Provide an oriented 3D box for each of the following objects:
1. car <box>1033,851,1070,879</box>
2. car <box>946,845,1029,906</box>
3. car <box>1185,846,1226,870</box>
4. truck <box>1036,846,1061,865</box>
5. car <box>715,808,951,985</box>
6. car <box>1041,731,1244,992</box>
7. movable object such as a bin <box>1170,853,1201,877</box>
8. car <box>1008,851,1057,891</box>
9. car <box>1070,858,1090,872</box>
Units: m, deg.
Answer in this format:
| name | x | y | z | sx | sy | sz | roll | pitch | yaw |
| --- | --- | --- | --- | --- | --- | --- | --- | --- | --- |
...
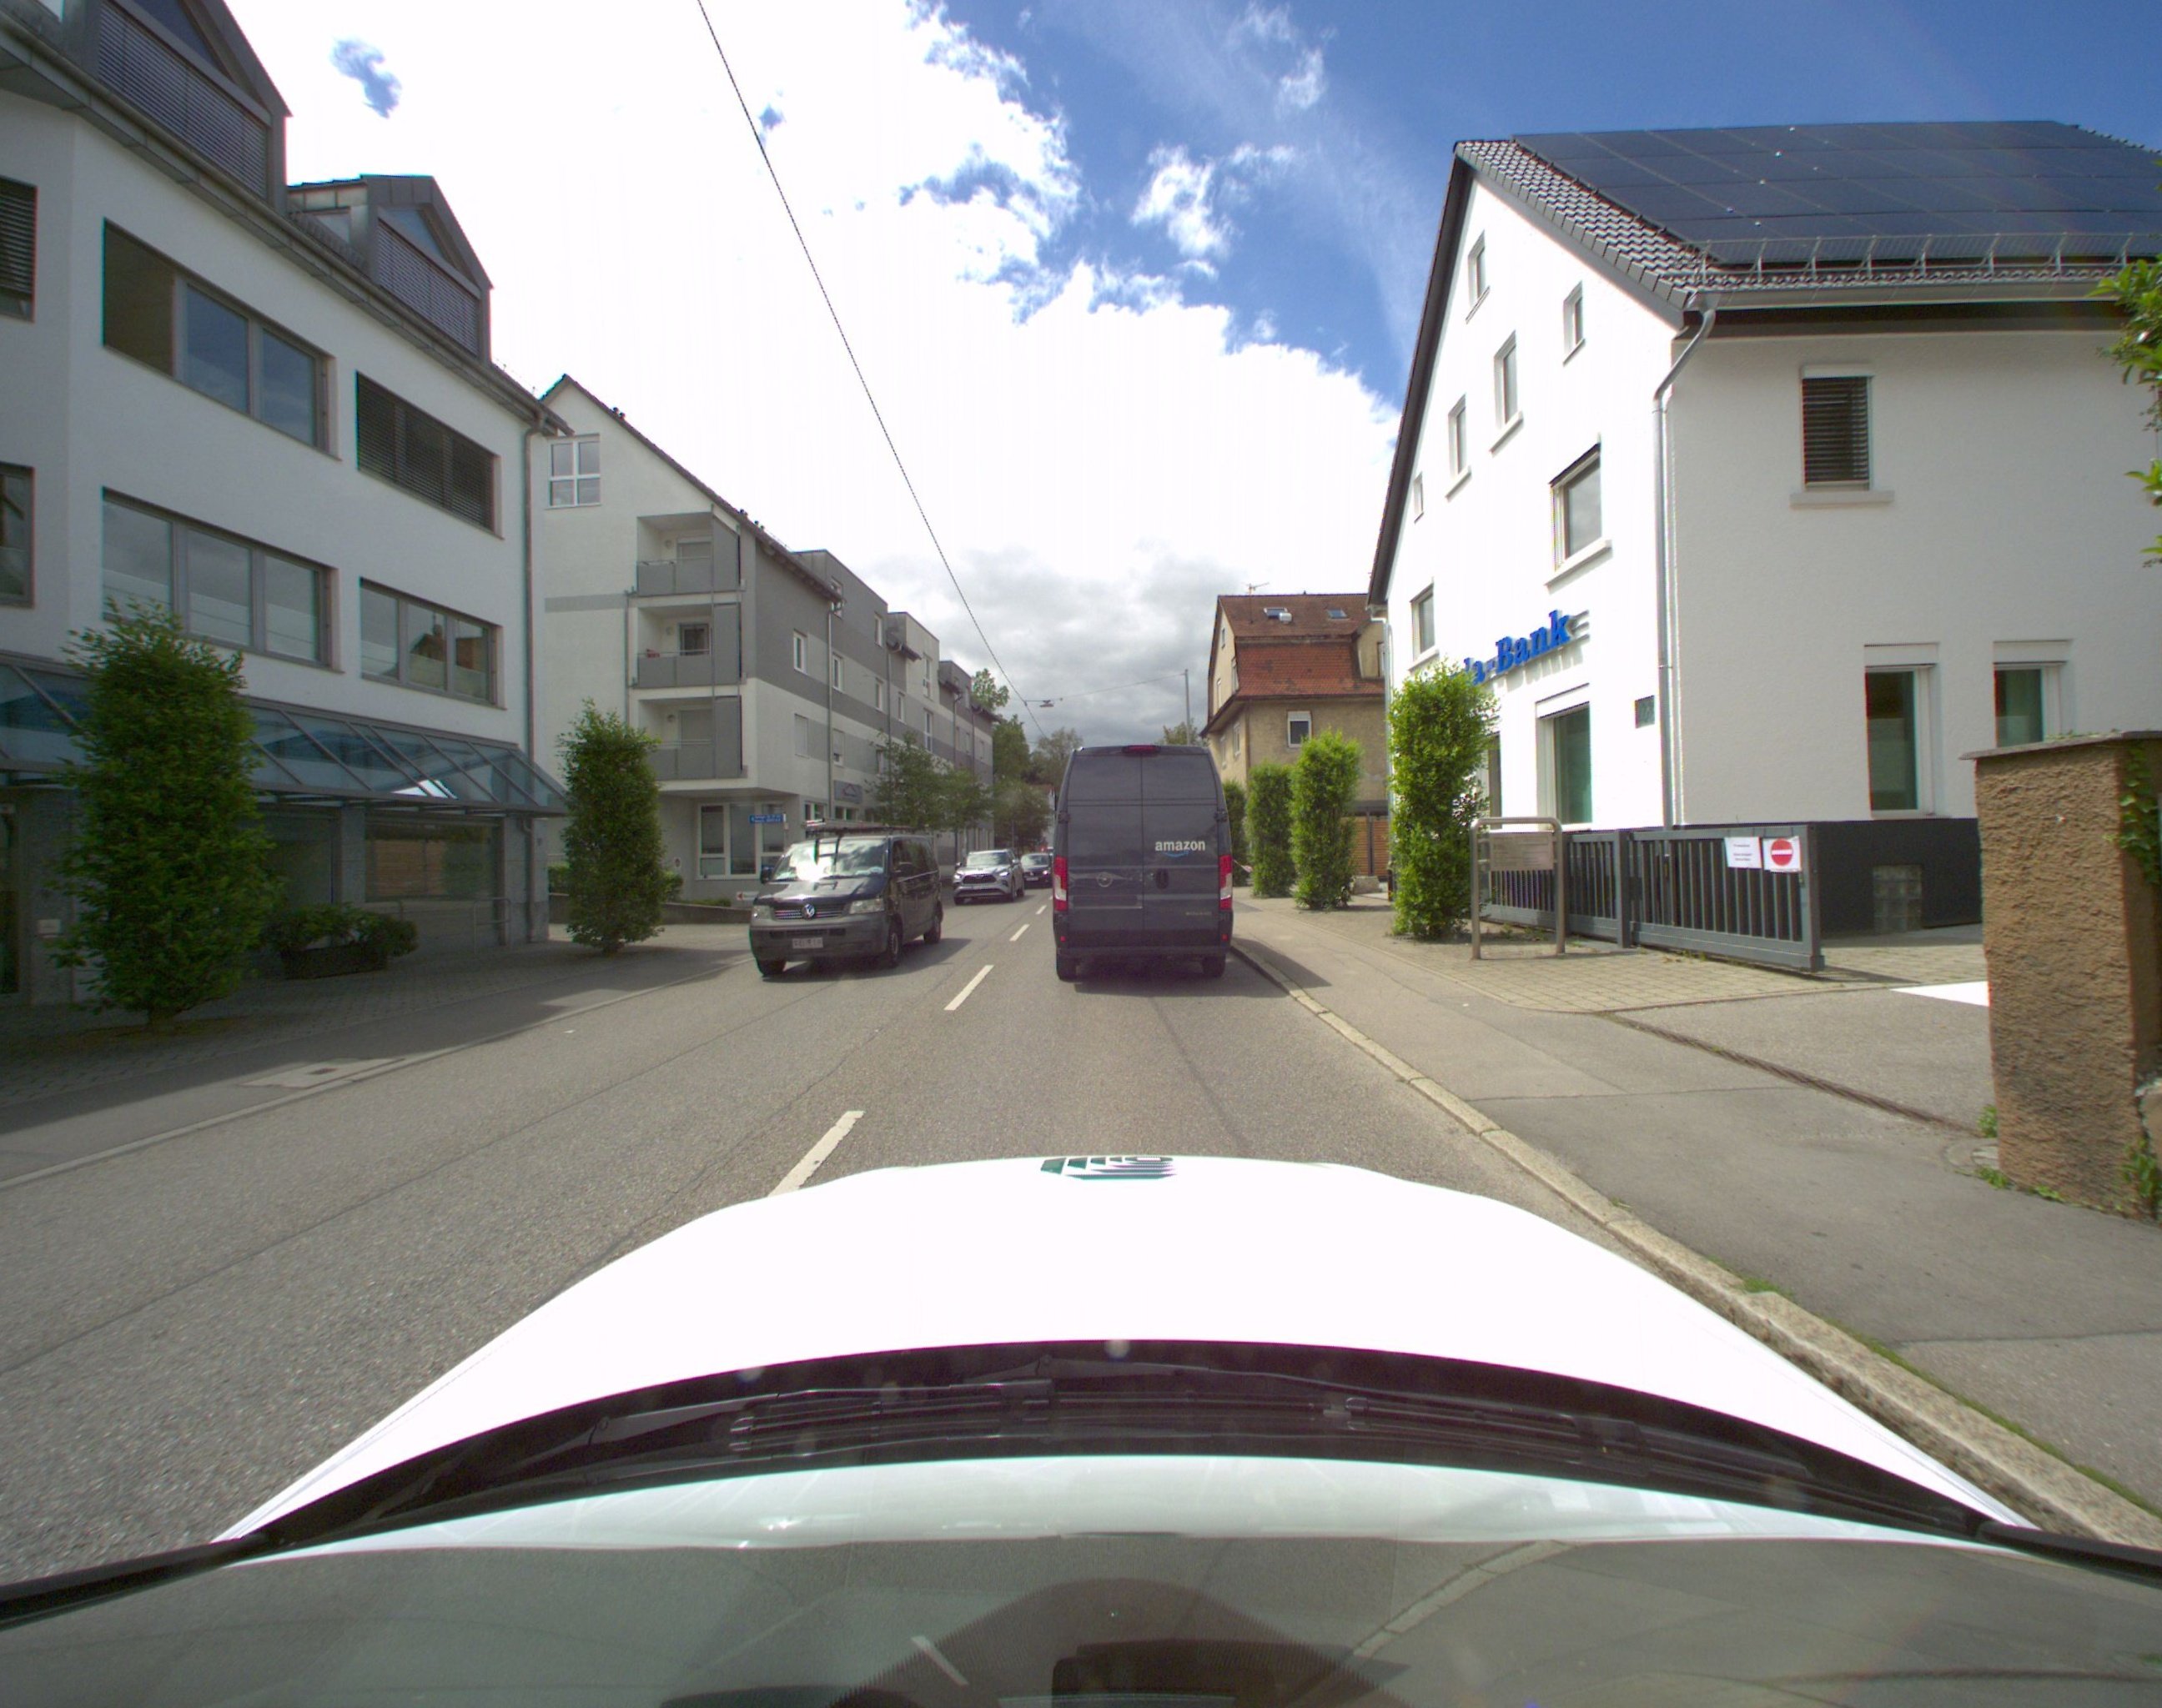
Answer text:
| name | x | y | z | sx | sy | sz | roll | pitch | yaw |
| --- | --- | --- | --- | --- | --- | --- | --- | --- | --- |
| car | -1.787 | 0.627 | 51.103 | 1.890 | 1.559 | 4.802 | -4 | 0 | 1 |
| car | -3.039 | 0.667 | 27.568 | 1.979 | 1.737 | 4.798 | -4 | 0 | 2 |
| car | 9.429 | 0.286 | 61.584 | 1.735 | 1.517 | 4.104 | -5 | 0 | 27 |
| truck | -4.194 | 0.154 | 105.934 | 2.213 | 2.380 | 6.336 | 0 | -1 | 6 |
| car | -3.520 | 0.528 | 12.723 | 2.104 | 2.152 | 4.882 | -2 | 0 | 0 |
| car | 0.667 | 0.073 | 11.876 | 2.141 | 2.770 | 6.248 | -1 | 0 | 0 |
| movable object such as a bin | 5.571 | 0.566 | 43.477 | 1.189 | 1.266 | 1.198 | -1 | 0 | -29 |
| car | -2.112 | 0.715 | 36.659 | 1.825 | 1.584 | 4.038 | -3 | 0 | 1 |
| car | -0.054 | 1.180 | 86.888 | 1.866 | 1.424 | 4.119 | 0 | 0 | 3 |
